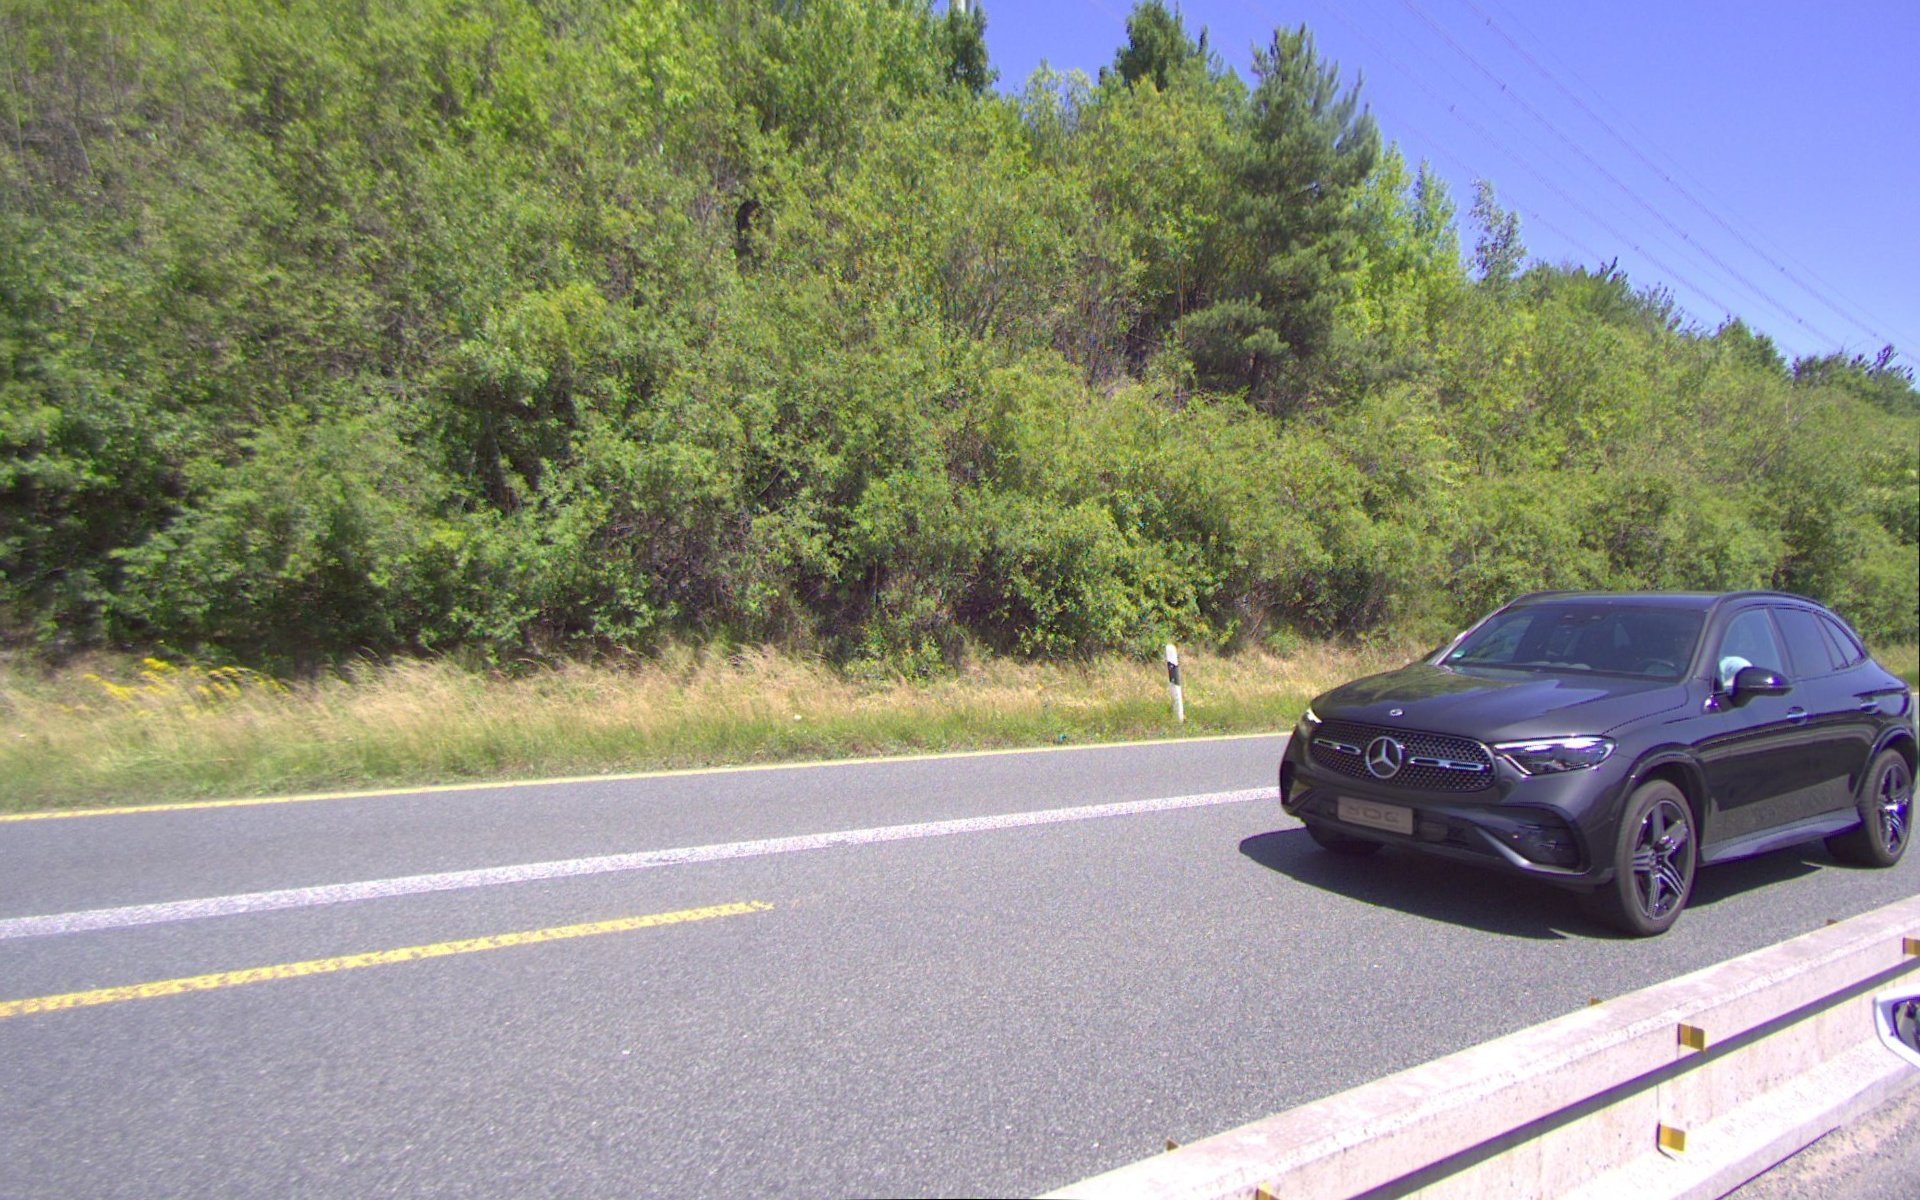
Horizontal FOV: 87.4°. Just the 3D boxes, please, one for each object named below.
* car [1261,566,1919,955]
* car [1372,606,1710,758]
[{"bbox_3d":[4.221,0.702,6.211,4.644,1.632,1.834,1,1,-31],"label":"car"},{"bbox_3d":[7.101,0.894,12.197,4.135,1.542,1.715,1,0,-30],"label":"car"}]
